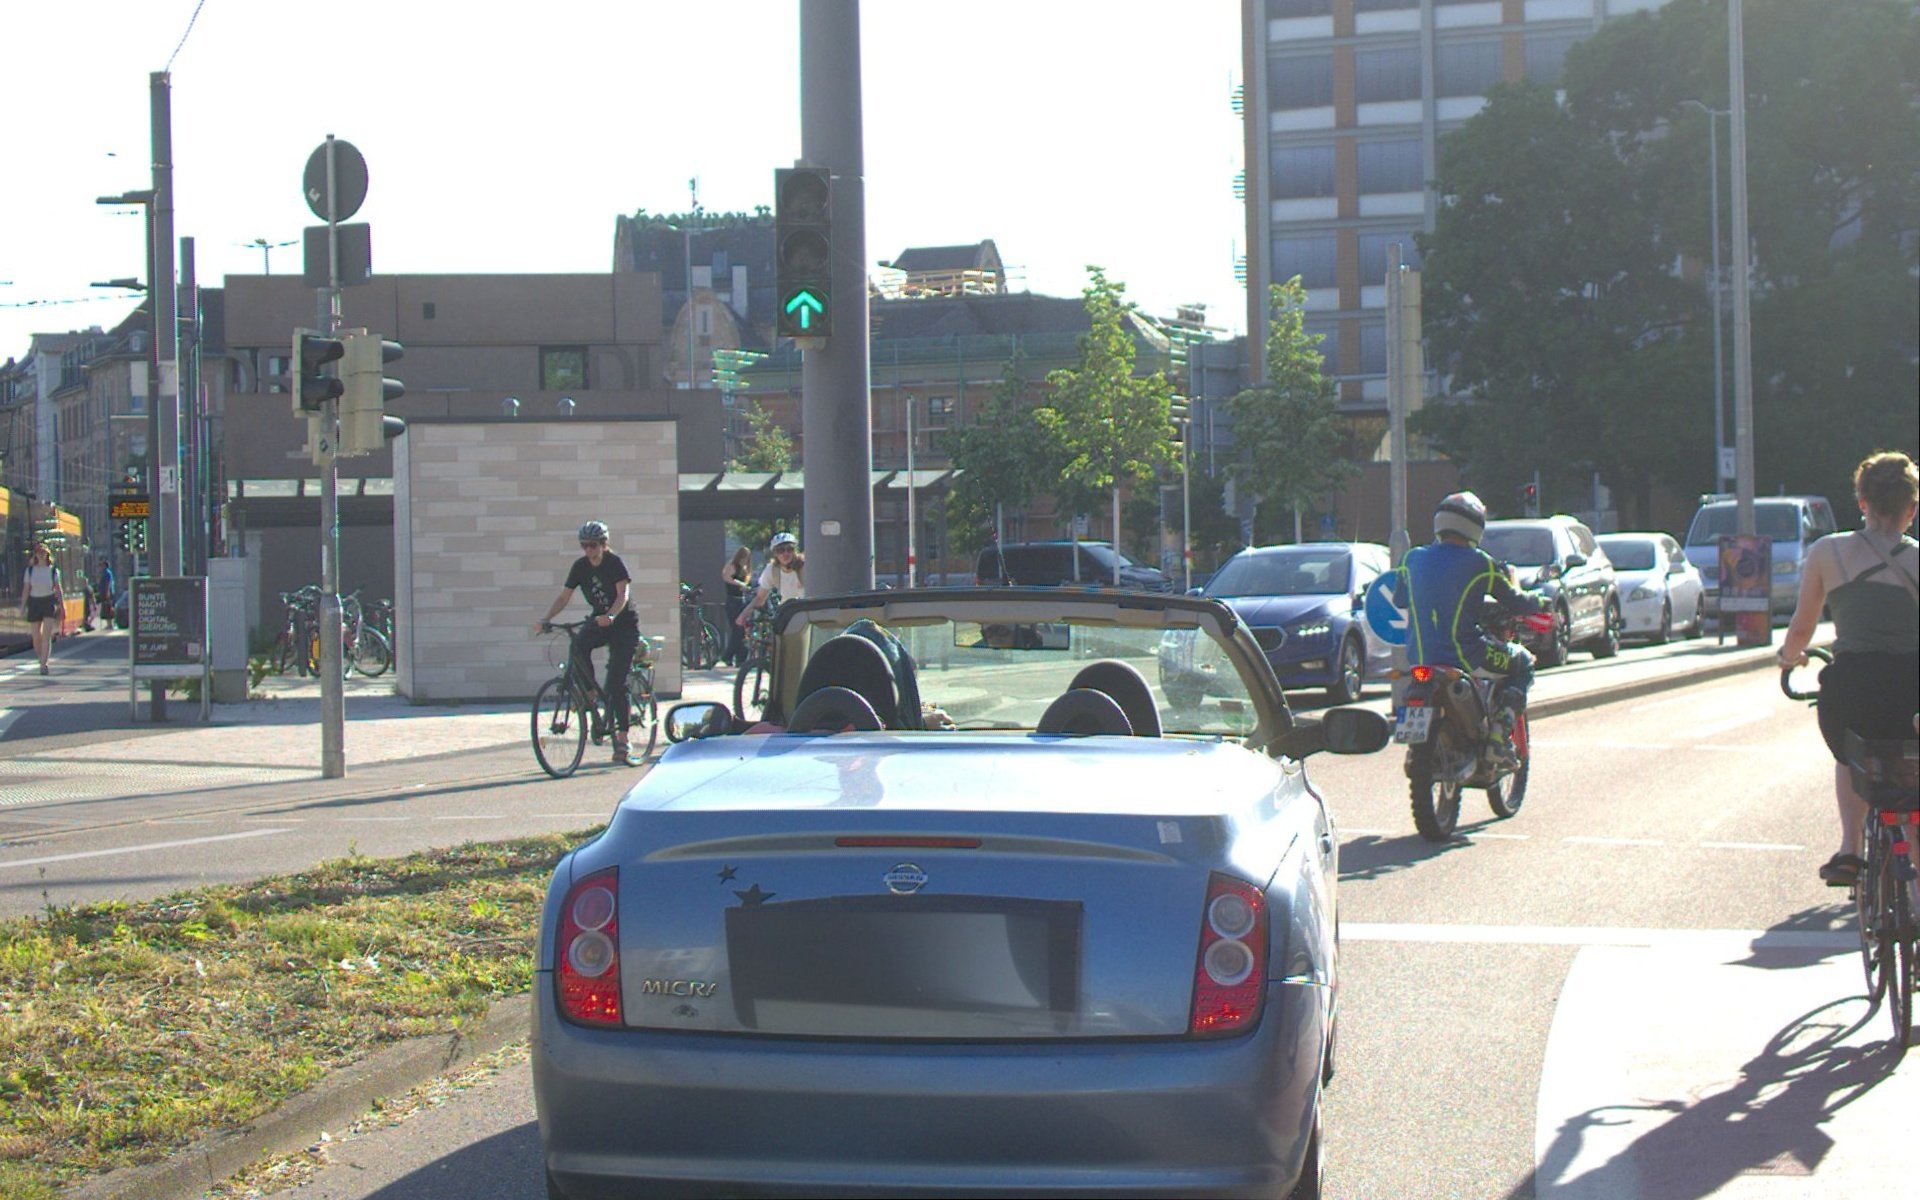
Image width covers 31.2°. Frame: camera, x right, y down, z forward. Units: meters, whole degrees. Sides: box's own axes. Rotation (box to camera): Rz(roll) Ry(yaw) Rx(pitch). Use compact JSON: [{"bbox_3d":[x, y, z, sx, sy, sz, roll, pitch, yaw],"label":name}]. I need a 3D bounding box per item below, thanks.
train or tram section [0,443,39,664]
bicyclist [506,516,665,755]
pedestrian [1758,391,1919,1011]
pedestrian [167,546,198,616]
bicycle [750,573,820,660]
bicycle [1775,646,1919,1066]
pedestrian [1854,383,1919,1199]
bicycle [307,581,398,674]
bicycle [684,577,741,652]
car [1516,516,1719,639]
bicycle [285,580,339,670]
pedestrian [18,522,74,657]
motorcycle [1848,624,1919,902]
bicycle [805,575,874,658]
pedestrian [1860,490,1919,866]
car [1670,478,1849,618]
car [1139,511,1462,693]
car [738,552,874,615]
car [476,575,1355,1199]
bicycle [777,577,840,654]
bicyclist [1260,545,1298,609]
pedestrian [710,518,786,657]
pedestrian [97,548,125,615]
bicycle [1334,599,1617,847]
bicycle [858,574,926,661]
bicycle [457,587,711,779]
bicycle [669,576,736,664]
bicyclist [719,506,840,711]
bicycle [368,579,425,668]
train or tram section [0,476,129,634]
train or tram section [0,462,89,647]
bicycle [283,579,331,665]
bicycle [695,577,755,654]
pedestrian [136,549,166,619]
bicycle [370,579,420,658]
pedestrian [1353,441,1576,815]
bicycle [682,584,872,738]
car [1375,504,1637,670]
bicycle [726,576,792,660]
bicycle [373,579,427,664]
[{"bbox_3d":[-18.123,-0.832,60.801,2.880,3.584,12.203,1,1,-12],"label":"train or tram section"},{"bbox_3d":[-2.685,0.246,24.726,0.709,1.651,0.900,-3,0,22],"label":"bicyclist"},{"bbox_3d":[2.868,0.300,10.787,0.659,1.862,0.872,1,0,15],"label":"pedestrian"},{"bbox_3d":[-19.730,-0.484,87.221,0.637,1.743,0.736,-1,1,-19],"label":"pedestrian"},{"bbox_3d":[-2.322,0.205,45.376,0.606,1.111,1.897,1,1,-12],"label":"bicycle"},{"bbox_3d":[2.861,0.742,10.729,0.564,1.147,1.948,1,1,14],"label":"bicycle"},{"bbox_3d":[2.590,0.449,8.103,0.806,1.862,0.956,1,0,8],"label":"pedestrian"},{"bbox_3d":[-7.512,0.330,42.580,0.607,1.111,1.896,1,0,6],"label":"bicycle"},{"bbox_3d":[-3.835,0.216,53.149,0.606,1.111,1.897,1,1,-12],"label":"bicycle"},{"bbox_3d":[8.840,-0.322,46.023,1.697,1.555,3.974,-1,1,25],"label":"car"},{"bbox_3d":[-8.331,0.313,44.186,0.606,1.111,1.897,1,1,-12],"label":"bicycle"},{"bbox_3d":[-11.974,-0.140,45.035,0.637,1.743,0.572,-1,1,-19],"label":"pedestrian"},{"bbox_3d":[4.272,0.672,15.055,0.614,1.094,2.358,1,1,17],"label":"motorcycle"},{"bbox_3d":[-1.685,0.218,47.695,0.606,1.111,1.897,1,1,-12],"label":"bicycle"},{"bbox_3d":[4.269,0.329,15.025,0.588,1.593,1.024,1,0,17],"label":"pedestrian"},{"bbox_3d":[12.177,-0.796,52.151,1.911,1.938,4.701,-2,0,21],"label":"car"},{"bbox_3d":[3.229,0.003,31.936,1.739,1.568,3.919,1,1,25],"label":"car"},{"bbox_3d":[-3.992,-0.423,88.595,1.640,1.555,3.599,-2,1,-39],"label":"car"},{"bbox_3d":[0.133,0.669,8.568,1.660,1.436,4.153,1,1,6],"label":"car"},{"bbox_3d":[-2.275,0.224,51.384,0.606,1.111,1.897,1,1,-12],"label":"bicycle"},{"bbox_3d":[8.089,-0.580,87.220,0.753,1.593,0.588,1,0,30],"label":"bicyclist"},{"bbox_3d":[-2.877,-0.166,46.601,0.900,1.862,0.687,1,0,-12],"label":"pedestrian"},{"bbox_3d":[-22.235,-0.482,90.050,0.604,1.743,0.832,-1,1,-8],"label":"pedestrian"},{"bbox_3d":[2.711,0.597,17.841,0.609,1.187,2.410,1,1,30],"label":"bicycle"},{"bbox_3d":[-0.912,0.221,45.678,0.606,1.111,1.897,1,1,-10],"label":"bicycle"},{"bbox_3d":[-2.668,0.568,24.727,0.675,1.246,2.454,-3,0,22],"label":"bicycle"},{"bbox_3d":[-3.396,0.250,45.236,0.606,1.111,1.897,1,1,-12],"label":"bicycle"},{"bbox_3d":[-1.475,0.068,28.208,0.709,1.651,0.742,-1,1,22],"label":"bicyclist"},{"bbox_3d":[-7.306,0.291,44.515,0.606,1.111,1.897,1,1,-12],"label":"bicycle"},{"bbox_3d":[-22.520,-1.111,84.720,3.039,3.584,12.055,1,1,-9],"label":"train or tram section"},{"bbox_3d":[-20.458,-0.967,72.793,3.011,3.584,12.203,1,1,-10],"label":"train or tram section"},{"bbox_3d":[-8.764,0.289,46.111,0.606,1.111,1.897,1,1,-11],"label":"bicycle"},{"bbox_3d":[-3.506,0.226,51.181,0.606,1.111,1.897,1,1,-12],"label":"bicycle"},{"bbox_3d":[-20.526,-0.415,87.181,0.637,1.743,0.736,-1,1,-19],"label":"pedestrian"},{"bbox_3d":[-8.293,0.260,50.454,0.606,1.111,1.897,1,1,-12],"label":"bicycle"},{"bbox_3d":[2.599,0.132,17.684,0.834,1.862,0.919,1,0,29],"label":"pedestrian"},{"bbox_3d":[-1.477,0.480,28.199,0.675,1.176,2.181,-1,1,22],"label":"bicycle"},{"bbox_3d":[6.187,-0.178,38.526,1.763,1.700,4.525,-2,0,24],"label":"car"},{"bbox_3d":[-2.772,0.239,47.308,0.606,1.111,1.897,1,1,-12],"label":"bicycle"},{"bbox_3d":[-7.594,0.281,46.579,0.606,1.111,1.897,1,1,-12],"label":"bicycle"}]
